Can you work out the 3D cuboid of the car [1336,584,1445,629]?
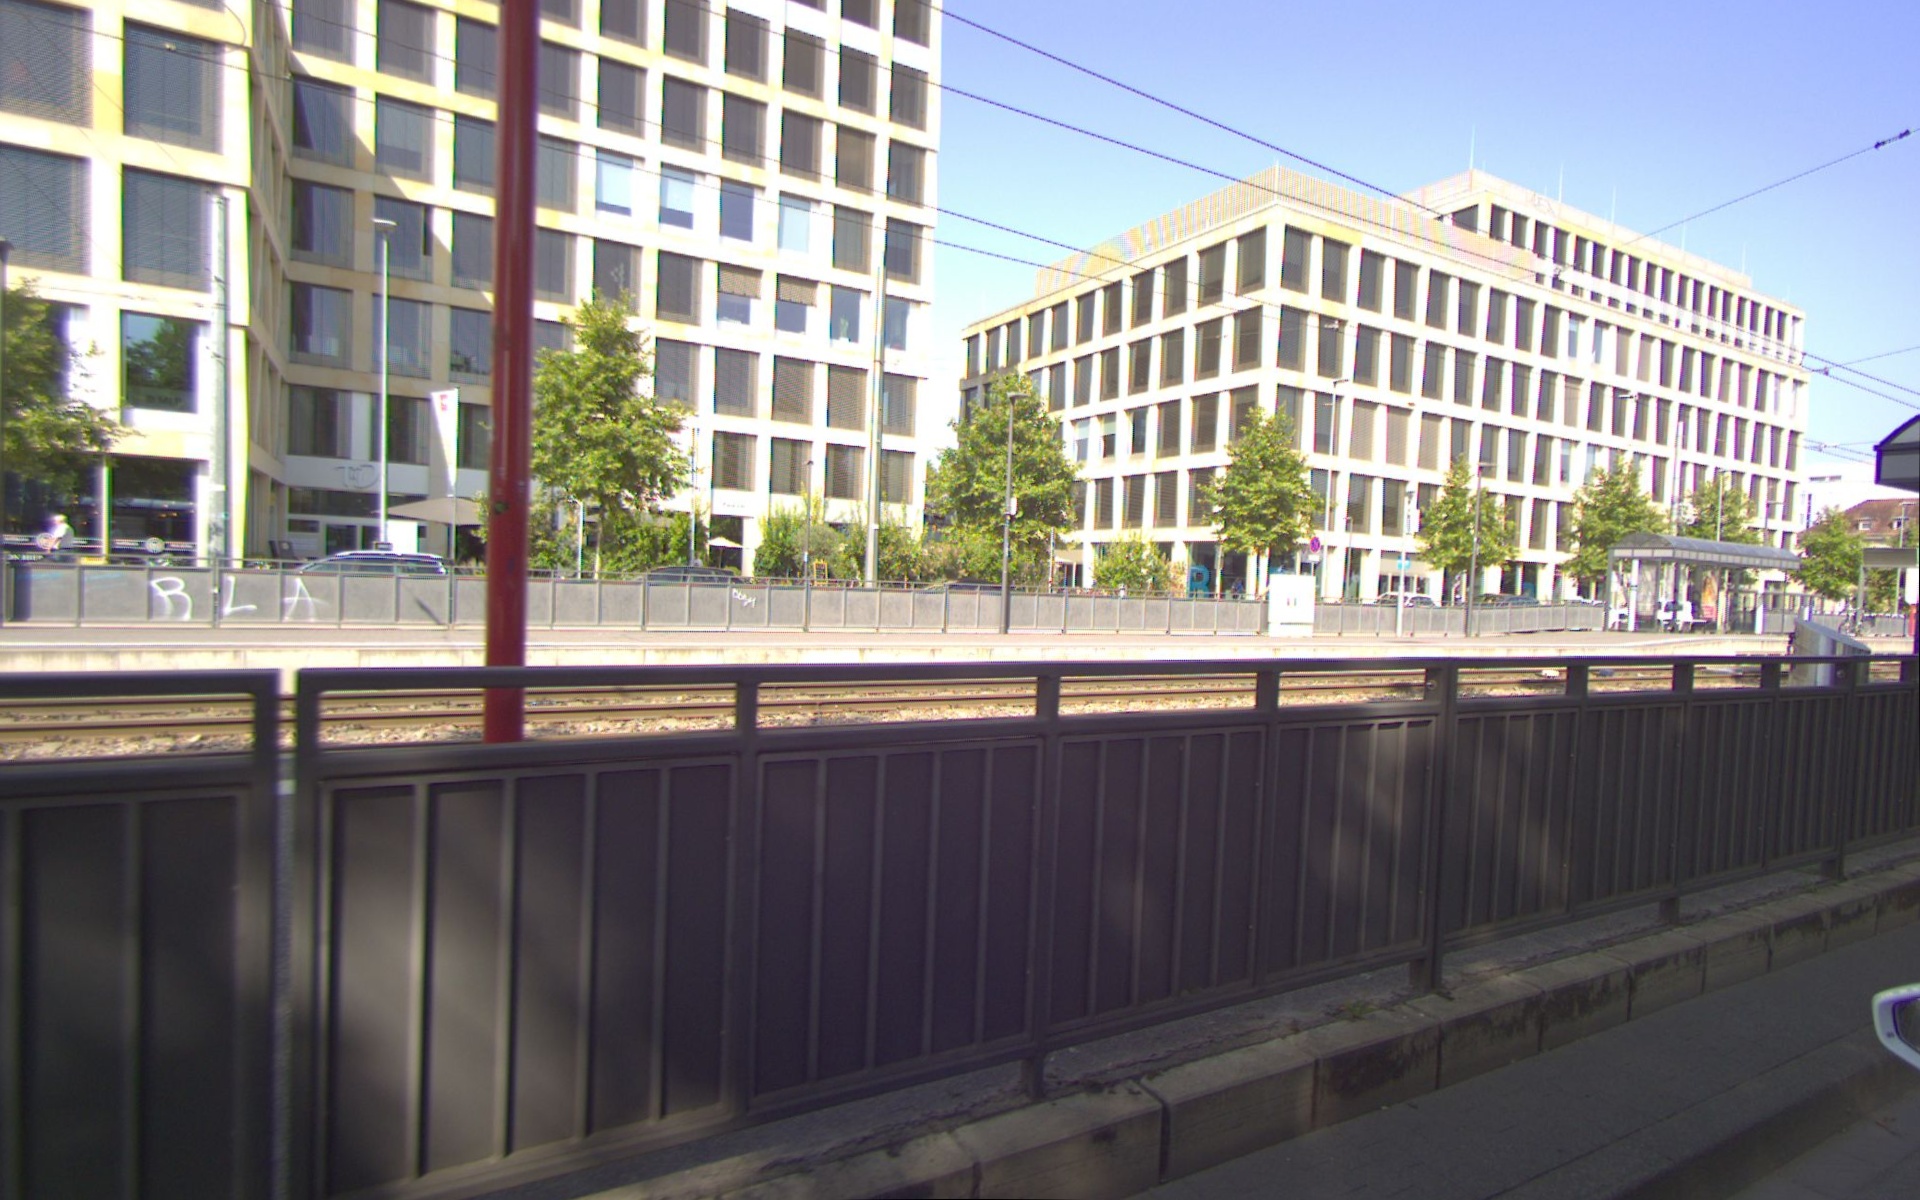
[{"bbox_3d":[16.353,0.249,38.135,4.085,1.595,1.754,1,0,-31],"label":"car"}]

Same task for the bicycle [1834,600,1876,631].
[{"bbox_3d":[35.281,0.601,39.586,1.459,1.163,0.471,2,2,-15],"label":"bicycle"}]

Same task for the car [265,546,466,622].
[{"bbox_3d":[-12.268,-0.312,20.870,3.467,1.447,1.544,1,1,-32],"label":"car"}]

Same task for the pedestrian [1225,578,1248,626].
[{"bbox_3d":[12.046,0.078,43.747,0.813,2.040,0.560,2,-2,-30],"label":"pedestrian"}]

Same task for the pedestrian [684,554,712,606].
[{"bbox_3d":[-10.475,-0.813,40.151,0.902,2.041,0.724,1,1,-28],"label":"pedestrian"}]

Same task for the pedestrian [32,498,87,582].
[{"bbox_3d":[-21.900,-1.442,24.449,0.830,1.942,0.788,3,-2,-36],"label":"pedestrian"}]

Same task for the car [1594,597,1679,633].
[{"bbox_3d":[32.127,0.710,47.681,4.085,1.624,1.754,1,0,-31],"label":"car"}]
